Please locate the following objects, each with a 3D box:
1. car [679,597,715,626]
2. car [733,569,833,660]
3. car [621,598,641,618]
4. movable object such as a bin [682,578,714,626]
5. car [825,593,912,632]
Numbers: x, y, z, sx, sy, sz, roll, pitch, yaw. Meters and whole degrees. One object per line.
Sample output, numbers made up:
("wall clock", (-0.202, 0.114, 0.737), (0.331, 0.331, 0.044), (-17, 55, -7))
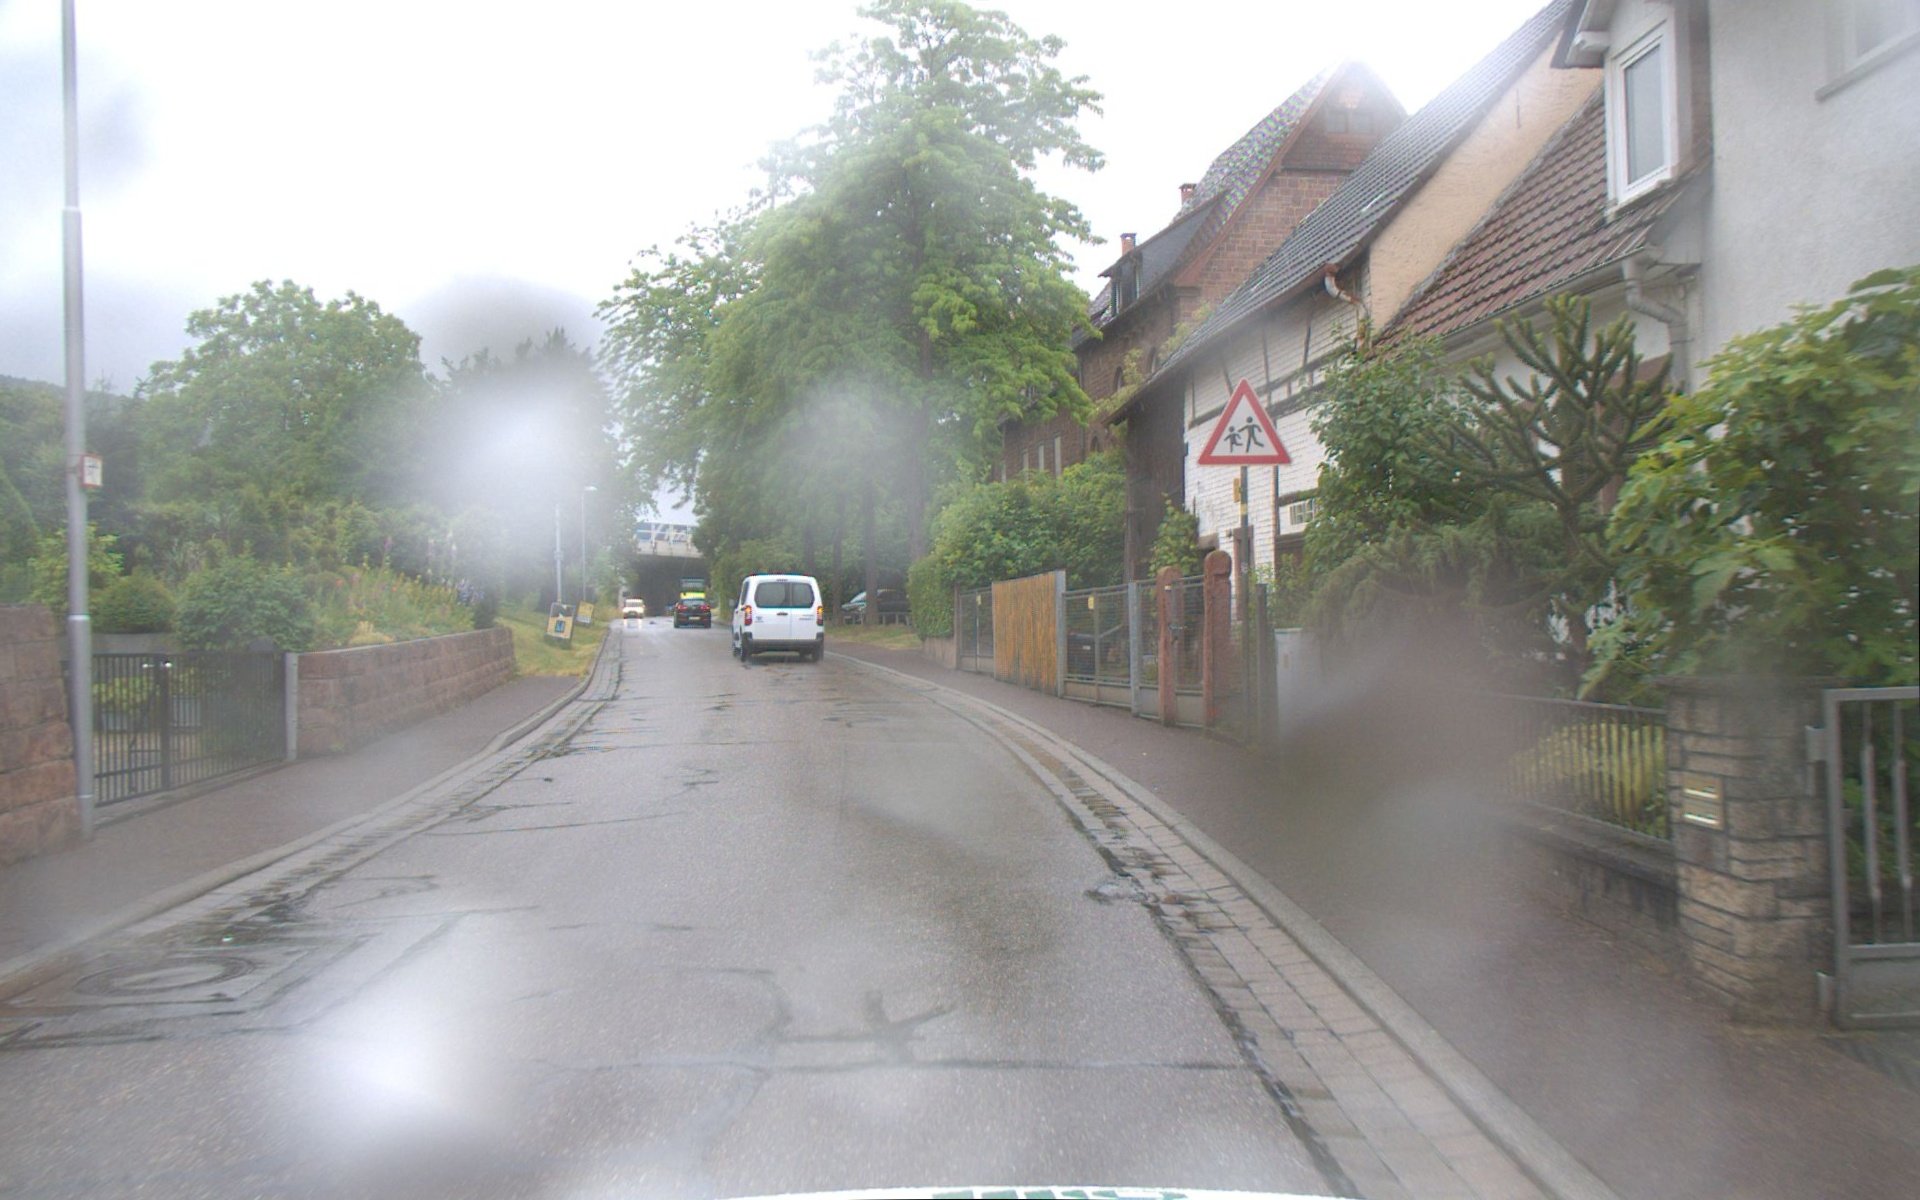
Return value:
("car", (-12.898, 0.585, 81.181), (1.677, 1.402, 3.992), (1, -1, -8))
("car", (-3.941, 0.293, 36.237), (1.862, 1.838, 3.990), (-1, 0, -11))
("car", (-30.681, 0.746, 154.135), (1.792, 1.864, 4.293), (1, -1, -13))
("movable object such as a bin", (-14.673, 0.123, 92.804), (1.728, 2.592, 4.230), (1, -1, -9))
("car", (-3.849, 0.511, 70.017), (1.593, 1.578, 3.591), (-2, -1, 42))
